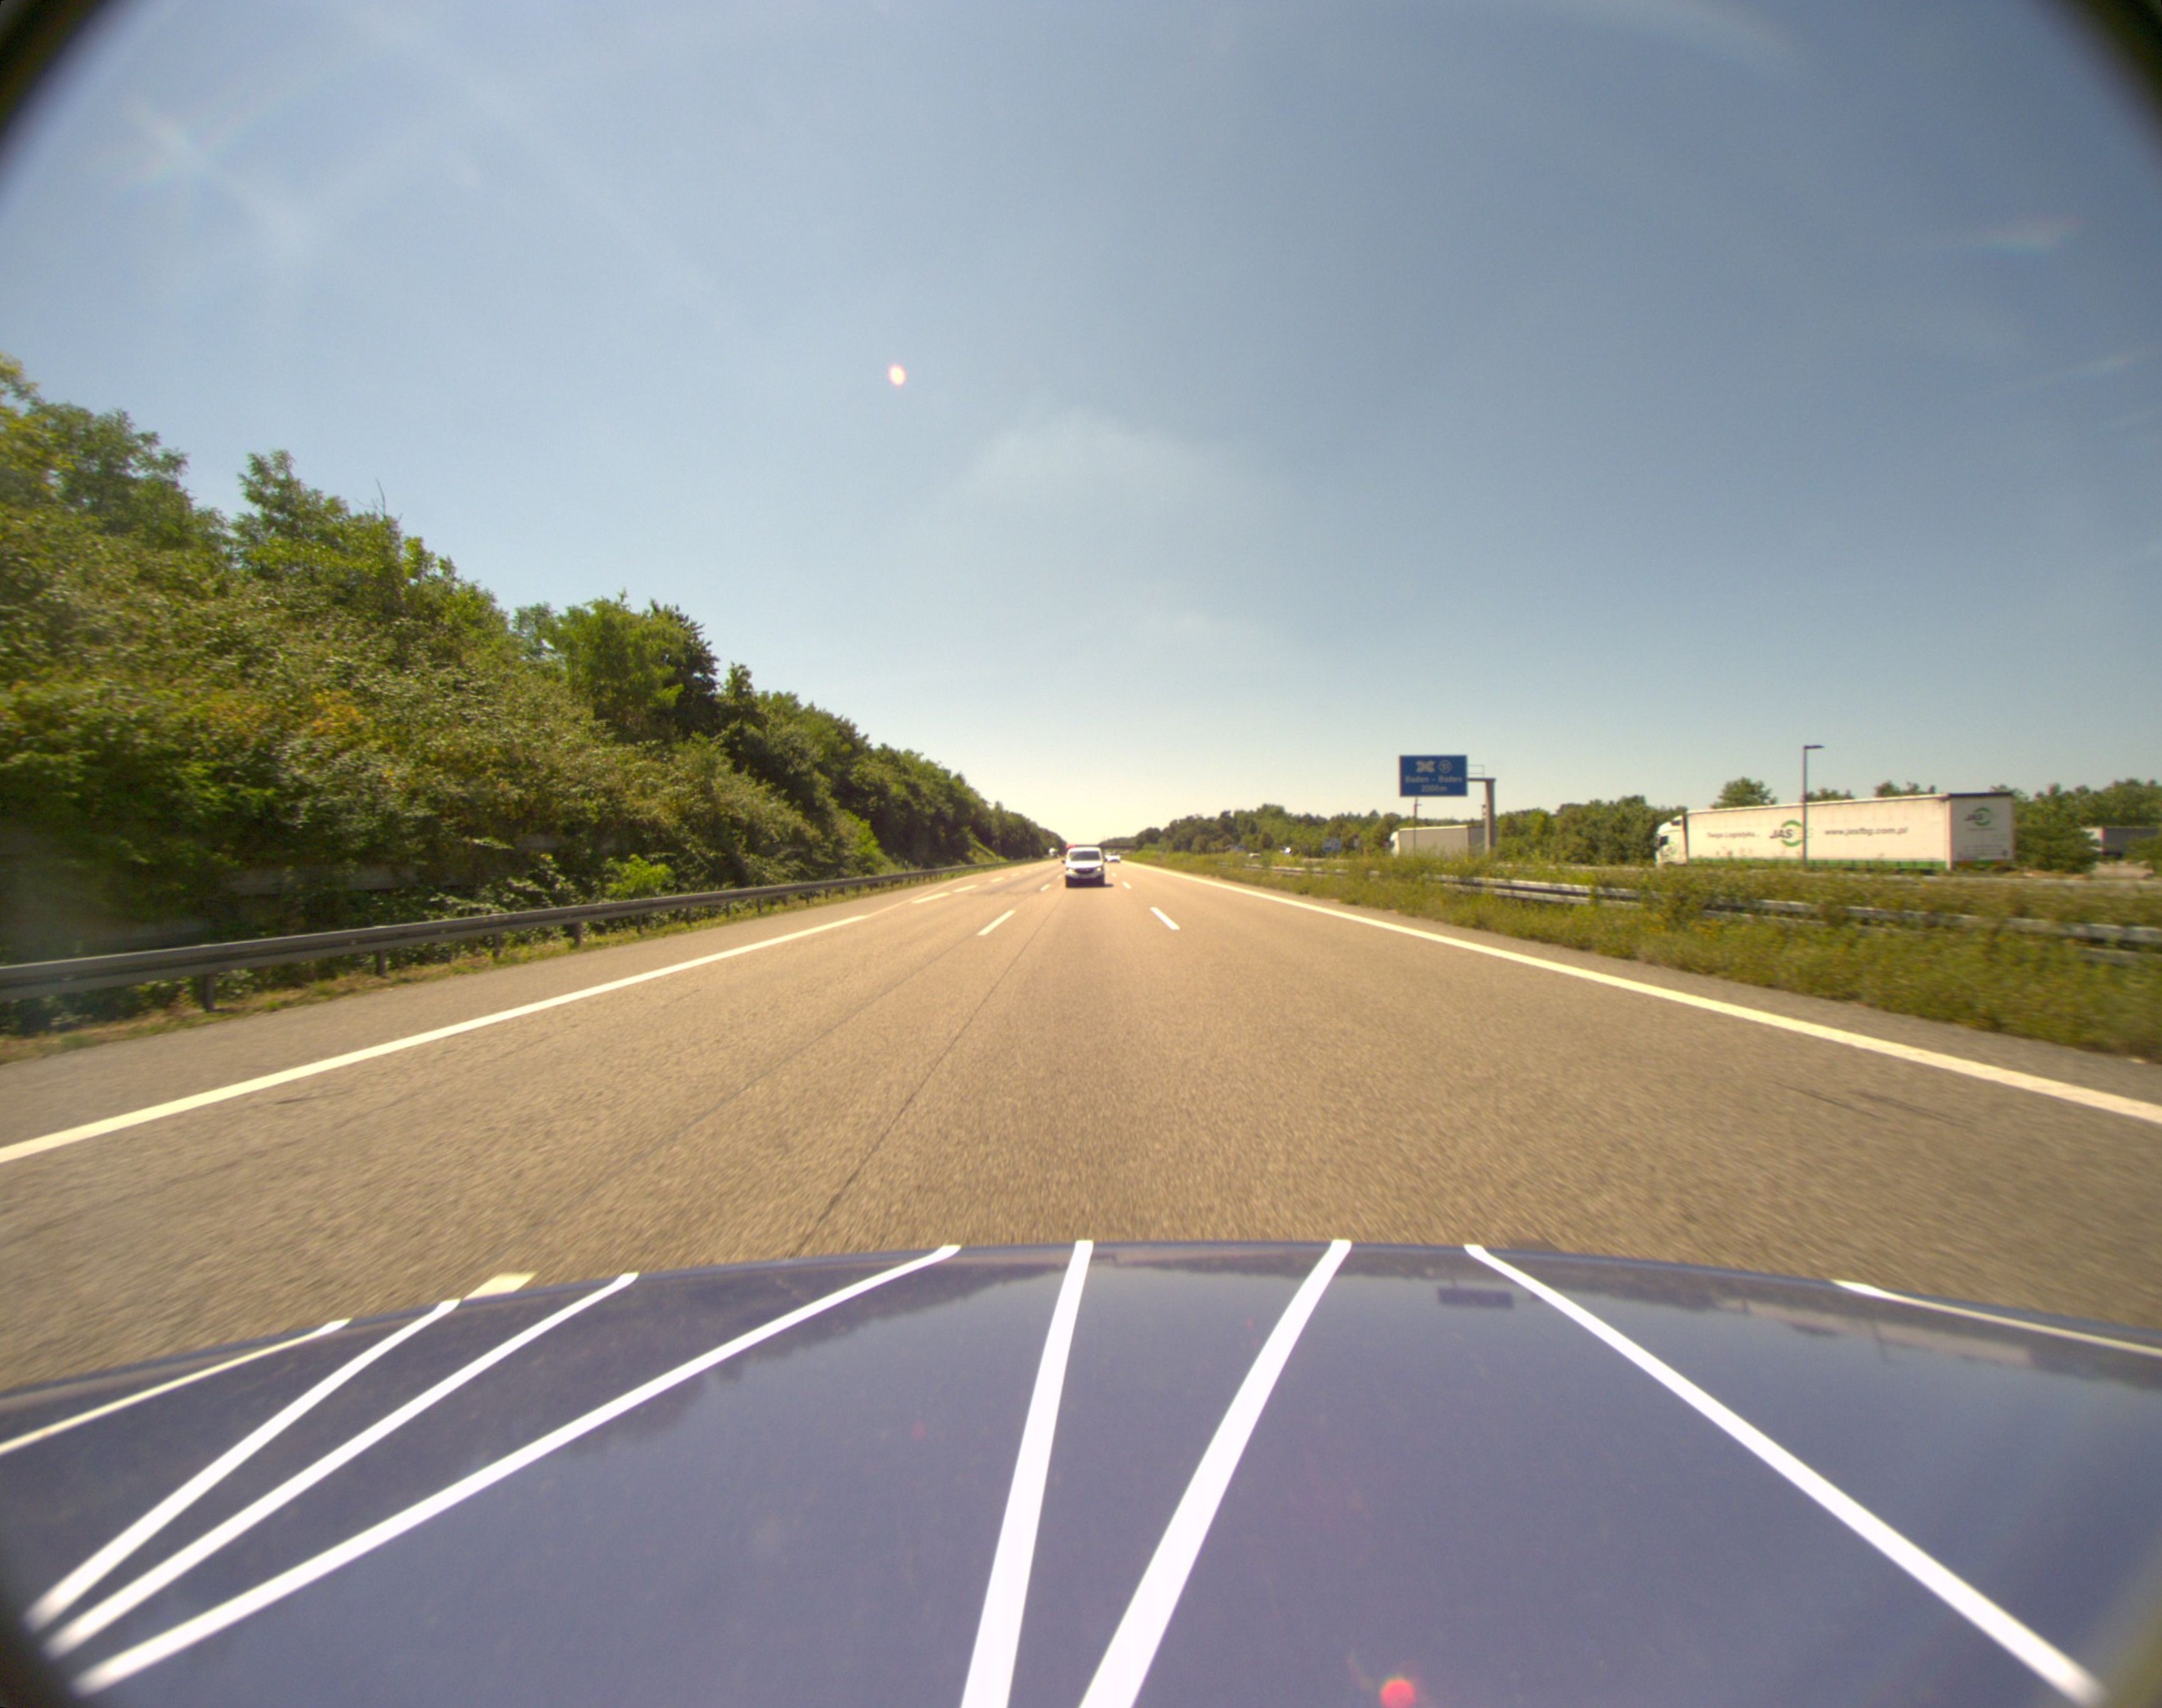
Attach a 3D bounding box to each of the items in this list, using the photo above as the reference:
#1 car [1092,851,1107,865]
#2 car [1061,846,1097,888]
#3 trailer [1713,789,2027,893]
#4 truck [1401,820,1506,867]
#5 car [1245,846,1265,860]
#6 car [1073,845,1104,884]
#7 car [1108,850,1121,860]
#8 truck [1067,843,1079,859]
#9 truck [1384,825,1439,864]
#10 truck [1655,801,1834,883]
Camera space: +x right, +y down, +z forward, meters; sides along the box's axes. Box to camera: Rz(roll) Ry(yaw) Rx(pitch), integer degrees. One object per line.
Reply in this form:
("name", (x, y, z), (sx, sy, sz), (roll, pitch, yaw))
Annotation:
("car", (2.139, 0.448, 86.303), (1.586, 1.497, 3.793), (-2, 1, 2))
("car", (-0.083, 0.553, 34.785), (1.501, 1.799, 3.394), (-2, 1, 1))
("trailer", (37.373, -0.600, 37.179), (3.101, 4.132, 12.010), (-2, 1, 2))
("truck", (32.849, -0.888, 67.942), (2.806, 3.622, 13.605), (-2, 1, 1))
("car", (22.945, -0.156, 100.423), (1.654, 1.737, 4.408), (-2, 1, 1))
("car", (0.375, 0.495, 38.267), (1.413, 1.795, 3.200), (-2, 1, 1))
("car", (4.955, 0.107, 112.283), (1.775, 1.410, 3.401), (-2, 1, 2))
("truck", (-1.887, -0.662, 178.626), (2.540, 3.656, 5.220), (-2, 1, 2))
("truck", (32.959, -0.947, 76.098), (2.806, 3.622, 6.146), (-2, 1, 1))
("truck", (37.596, -0.662, 43.636), (3.102, 4.128, 8.316), (-2, 1, 2))
